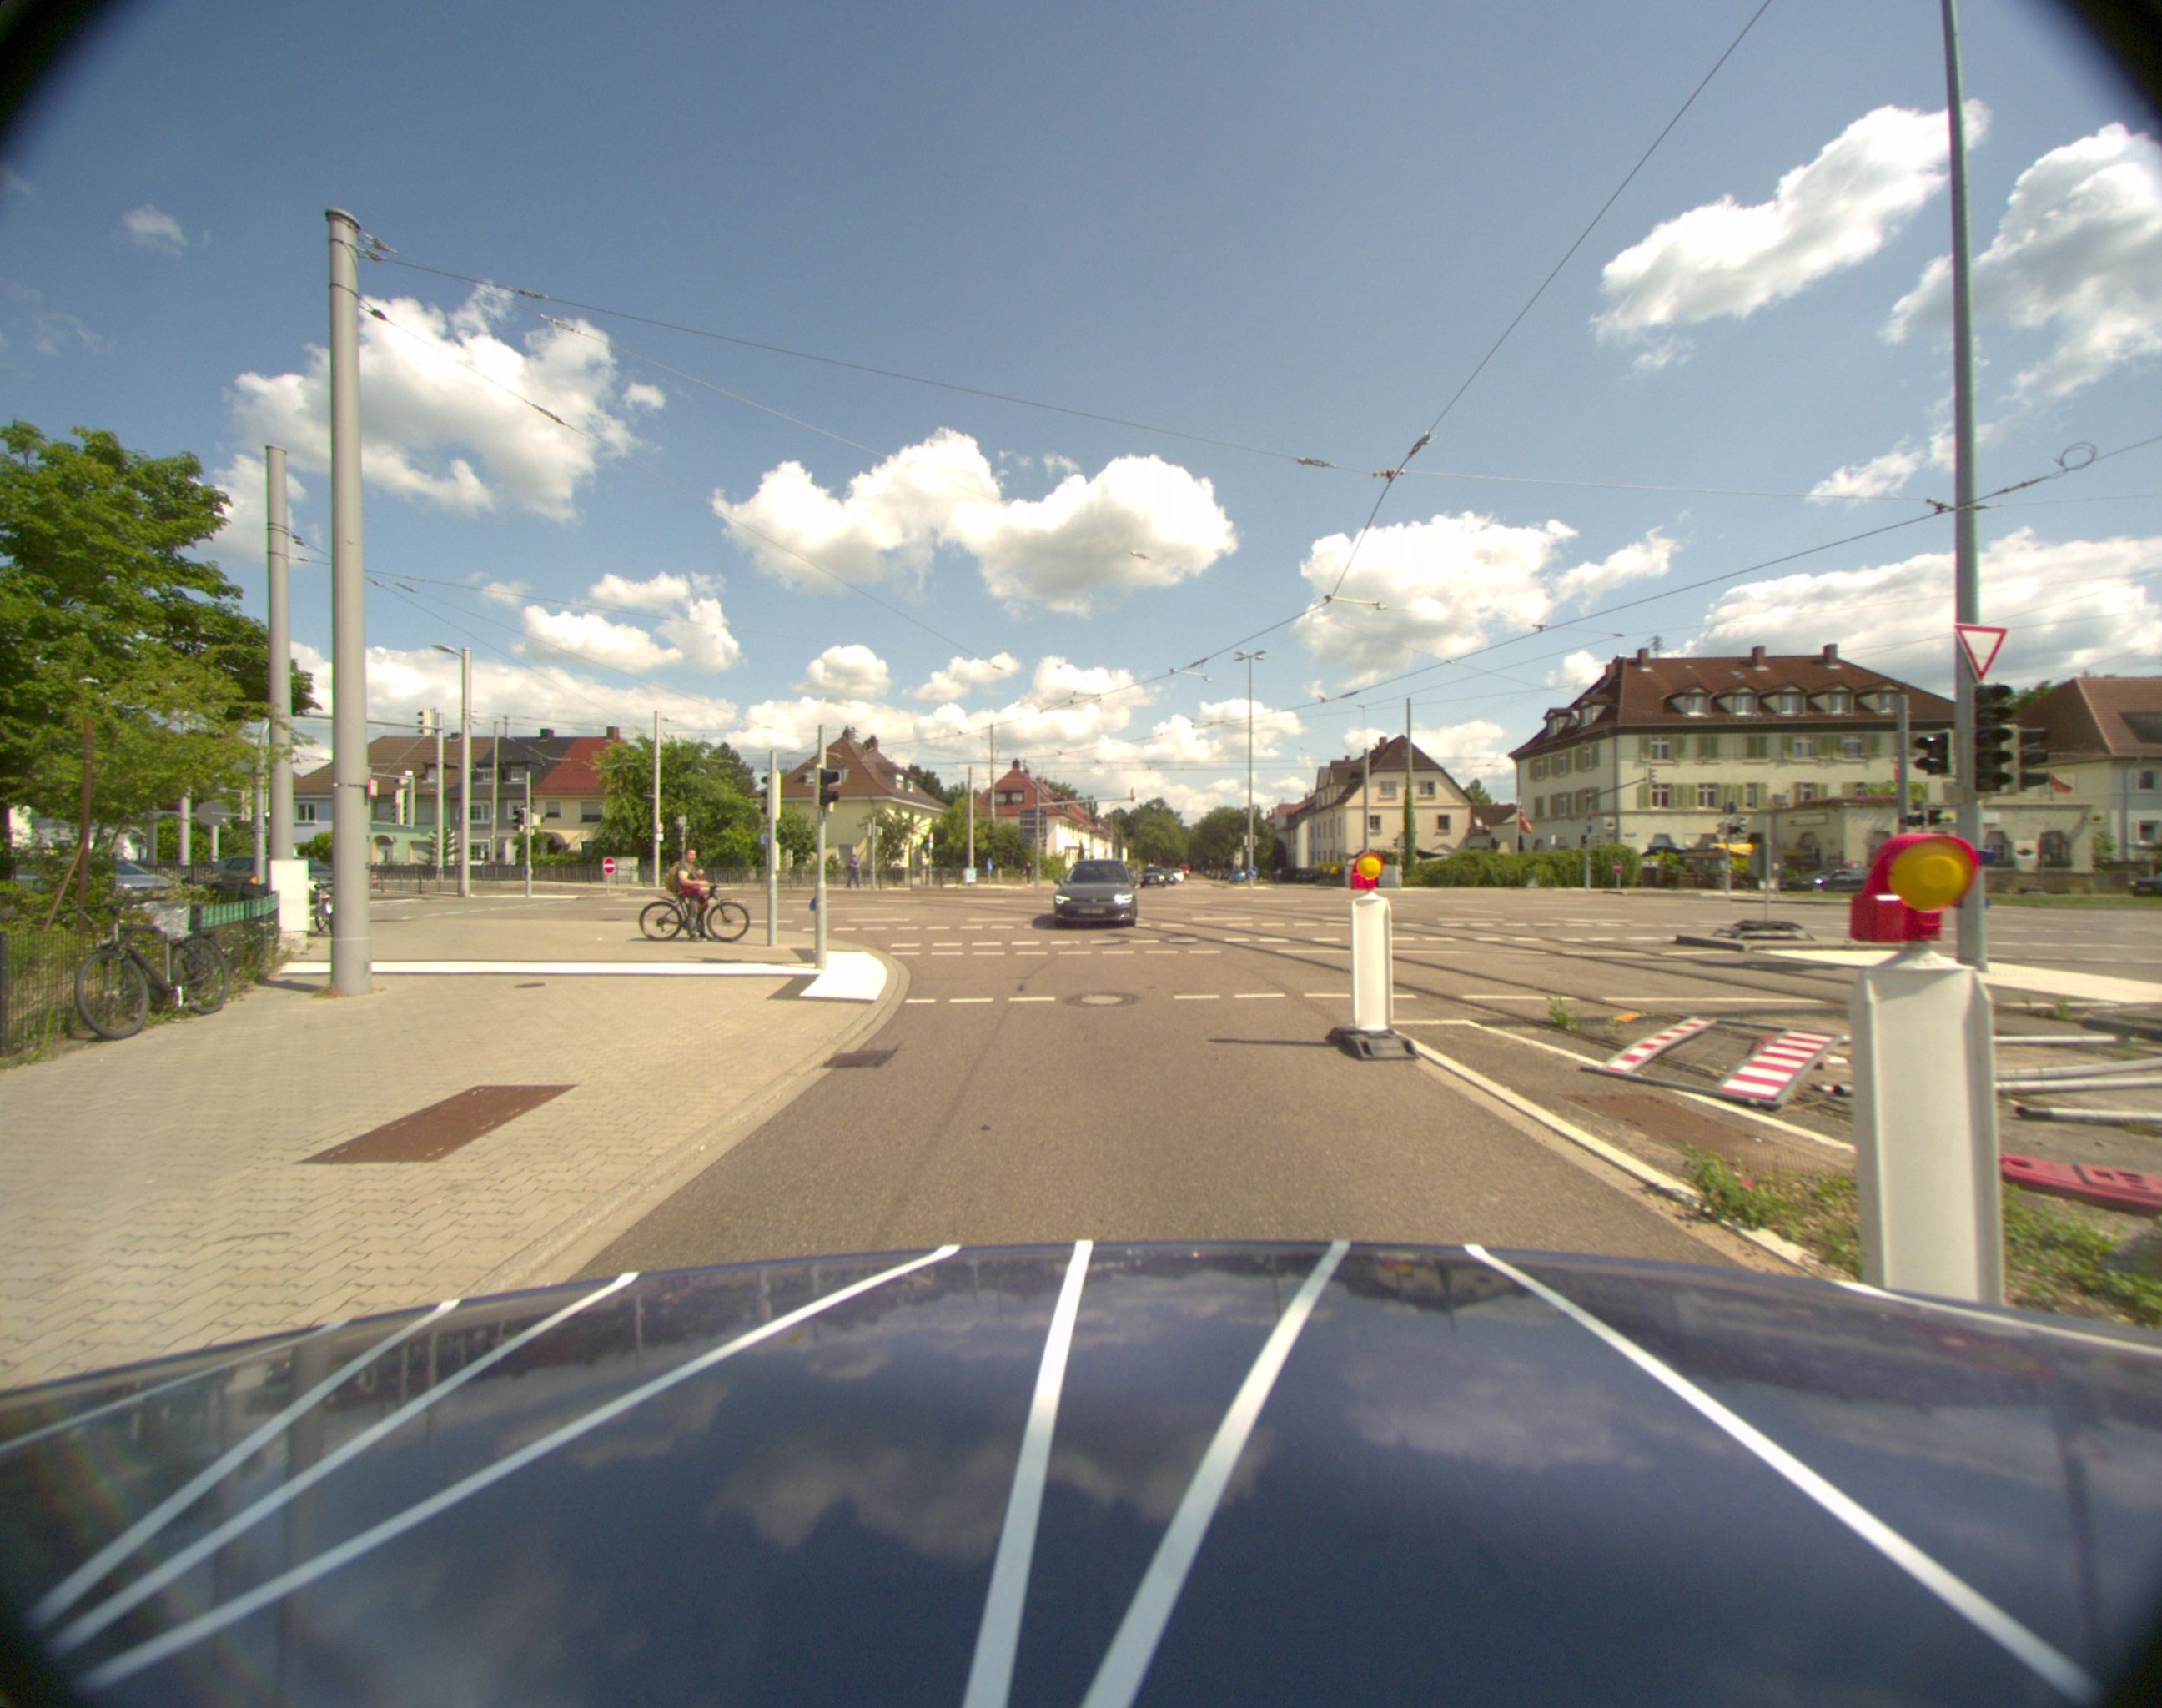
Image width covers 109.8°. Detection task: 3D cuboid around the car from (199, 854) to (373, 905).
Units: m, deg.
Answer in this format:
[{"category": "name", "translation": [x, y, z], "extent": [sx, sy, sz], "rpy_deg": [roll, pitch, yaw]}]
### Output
[{"category": "car", "translation": [-25.995, 0.812, 24.933], "extent": [3.995, 1.559, 1.843], "rpy_deg": [0, 0, 5]}]

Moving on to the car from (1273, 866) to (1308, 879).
[{"category": "car", "translation": [25.054, 2.194, 90.986], "extent": [3.803, 1.445, 1.712], "rpy_deg": [0, -1, 10]}]

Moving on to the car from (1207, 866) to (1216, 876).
[{"category": "car", "translation": [22.265, 2.919, 129.411], "extent": [1.561, 1.645, 3.254], "rpy_deg": [0, -1, 10]}]

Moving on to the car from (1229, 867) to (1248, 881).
[{"category": "car", "translation": [17.168, 2.146, 82.810], "extent": [1.708, 1.453, 3.157], "rpy_deg": [0, -1, 7]}]

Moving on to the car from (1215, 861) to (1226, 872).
[{"category": "car", "translation": [20.899, 1.892, 114.162], "extent": [1.561, 1.645, 3.577], "rpy_deg": [0, -1, 10]}]

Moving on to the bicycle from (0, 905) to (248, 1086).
[{"category": "bicycle", "translation": [-7.969, 1.036, 6.166], "extent": [0.595, 1.090, 2.273], "rpy_deg": [0, 0, -19]}]

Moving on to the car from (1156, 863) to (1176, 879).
[{"category": "car", "translation": [7.572, 1.510, 67.894], "extent": [1.708, 1.453, 3.157], "rpy_deg": [0, -1, 6]}]

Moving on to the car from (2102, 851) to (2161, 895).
[{"category": "car", "translation": [50.129, 0.853, 34.919], "extent": [3.711, 2.002, 1.905], "rpy_deg": [0, 0, 3]}]

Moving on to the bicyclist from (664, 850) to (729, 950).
[{"category": "bicyclist", "translation": [-7.008, 0.809, 13.884], "extent": [0.961, 1.764, 0.718], "rpy_deg": [0, 0, -19]}]

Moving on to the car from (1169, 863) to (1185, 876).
[{"category": "car", "translation": [10.290, 1.654, 81.178], "extent": [1.708, 1.453, 3.157], "rpy_deg": [0, -1, 7]}]

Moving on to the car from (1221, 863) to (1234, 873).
[{"category": "car", "translation": [19.387, 1.834, 100.531], "extent": [1.708, 1.288, 3.921], "rpy_deg": [0, -1, 10]}]

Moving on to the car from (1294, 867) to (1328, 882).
[{"category": "car", "translation": [21.668, 1.885, 71.629], "extent": [1.757, 1.378, 4.112], "rpy_deg": [0, -1, 37]}]

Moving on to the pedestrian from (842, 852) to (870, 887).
[{"category": "pedestrian", "translation": [-11.207, 0.757, 37.844], "extent": [1.032, 1.724, 1.041], "rpy_deg": [0, -1, 3]}]

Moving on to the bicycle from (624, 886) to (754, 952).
[{"category": "bicycle", "translation": [-7.086, 1.160, 13.848], "extent": [2.036, 1.095, 0.714], "rpy_deg": [0, 0, -20]}]

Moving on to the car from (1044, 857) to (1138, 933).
[{"category": "car", "translation": [0.369, 0.832, 17.070], "extent": [1.765, 1.465, 4.690], "rpy_deg": [0, -1, 5]}]

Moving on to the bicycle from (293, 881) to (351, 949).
[{"category": "bicycle", "translation": [-13.677, 1.068, 13.711], "extent": [0.704, 1.098, 1.803], "rpy_deg": [0, 0, -44]}]

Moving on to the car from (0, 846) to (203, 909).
[{"category": "car", "translation": [-28.122, 0.642, 21.735], "extent": [3.995, 1.682, 1.940], "rpy_deg": [0, 0, 5]}]

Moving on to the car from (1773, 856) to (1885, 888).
[{"category": "car", "translation": [38.081, 0.899, 38.754], "extent": [3.921, 1.574, 1.748], "rpy_deg": [0, -1, 3]}]

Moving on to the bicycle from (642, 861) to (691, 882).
[{"category": "bicycle", "translation": [-26.755, 1.147, 49.021], "extent": [2.800, 1.326, 0.623], "rpy_deg": [0, 0, -1]}]

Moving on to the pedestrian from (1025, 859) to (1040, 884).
[{"category": "pedestrian", "translation": [-3.495, 1.262, 54.429], "extent": [0.591, 1.757, 0.939], "rpy_deg": [1, -1, 35]}]

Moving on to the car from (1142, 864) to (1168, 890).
[{"category": "car", "translation": [5.552, 1.666, 56.912], "extent": [1.775, 1.754, 4.877], "rpy_deg": [0, 0, 7]}]
